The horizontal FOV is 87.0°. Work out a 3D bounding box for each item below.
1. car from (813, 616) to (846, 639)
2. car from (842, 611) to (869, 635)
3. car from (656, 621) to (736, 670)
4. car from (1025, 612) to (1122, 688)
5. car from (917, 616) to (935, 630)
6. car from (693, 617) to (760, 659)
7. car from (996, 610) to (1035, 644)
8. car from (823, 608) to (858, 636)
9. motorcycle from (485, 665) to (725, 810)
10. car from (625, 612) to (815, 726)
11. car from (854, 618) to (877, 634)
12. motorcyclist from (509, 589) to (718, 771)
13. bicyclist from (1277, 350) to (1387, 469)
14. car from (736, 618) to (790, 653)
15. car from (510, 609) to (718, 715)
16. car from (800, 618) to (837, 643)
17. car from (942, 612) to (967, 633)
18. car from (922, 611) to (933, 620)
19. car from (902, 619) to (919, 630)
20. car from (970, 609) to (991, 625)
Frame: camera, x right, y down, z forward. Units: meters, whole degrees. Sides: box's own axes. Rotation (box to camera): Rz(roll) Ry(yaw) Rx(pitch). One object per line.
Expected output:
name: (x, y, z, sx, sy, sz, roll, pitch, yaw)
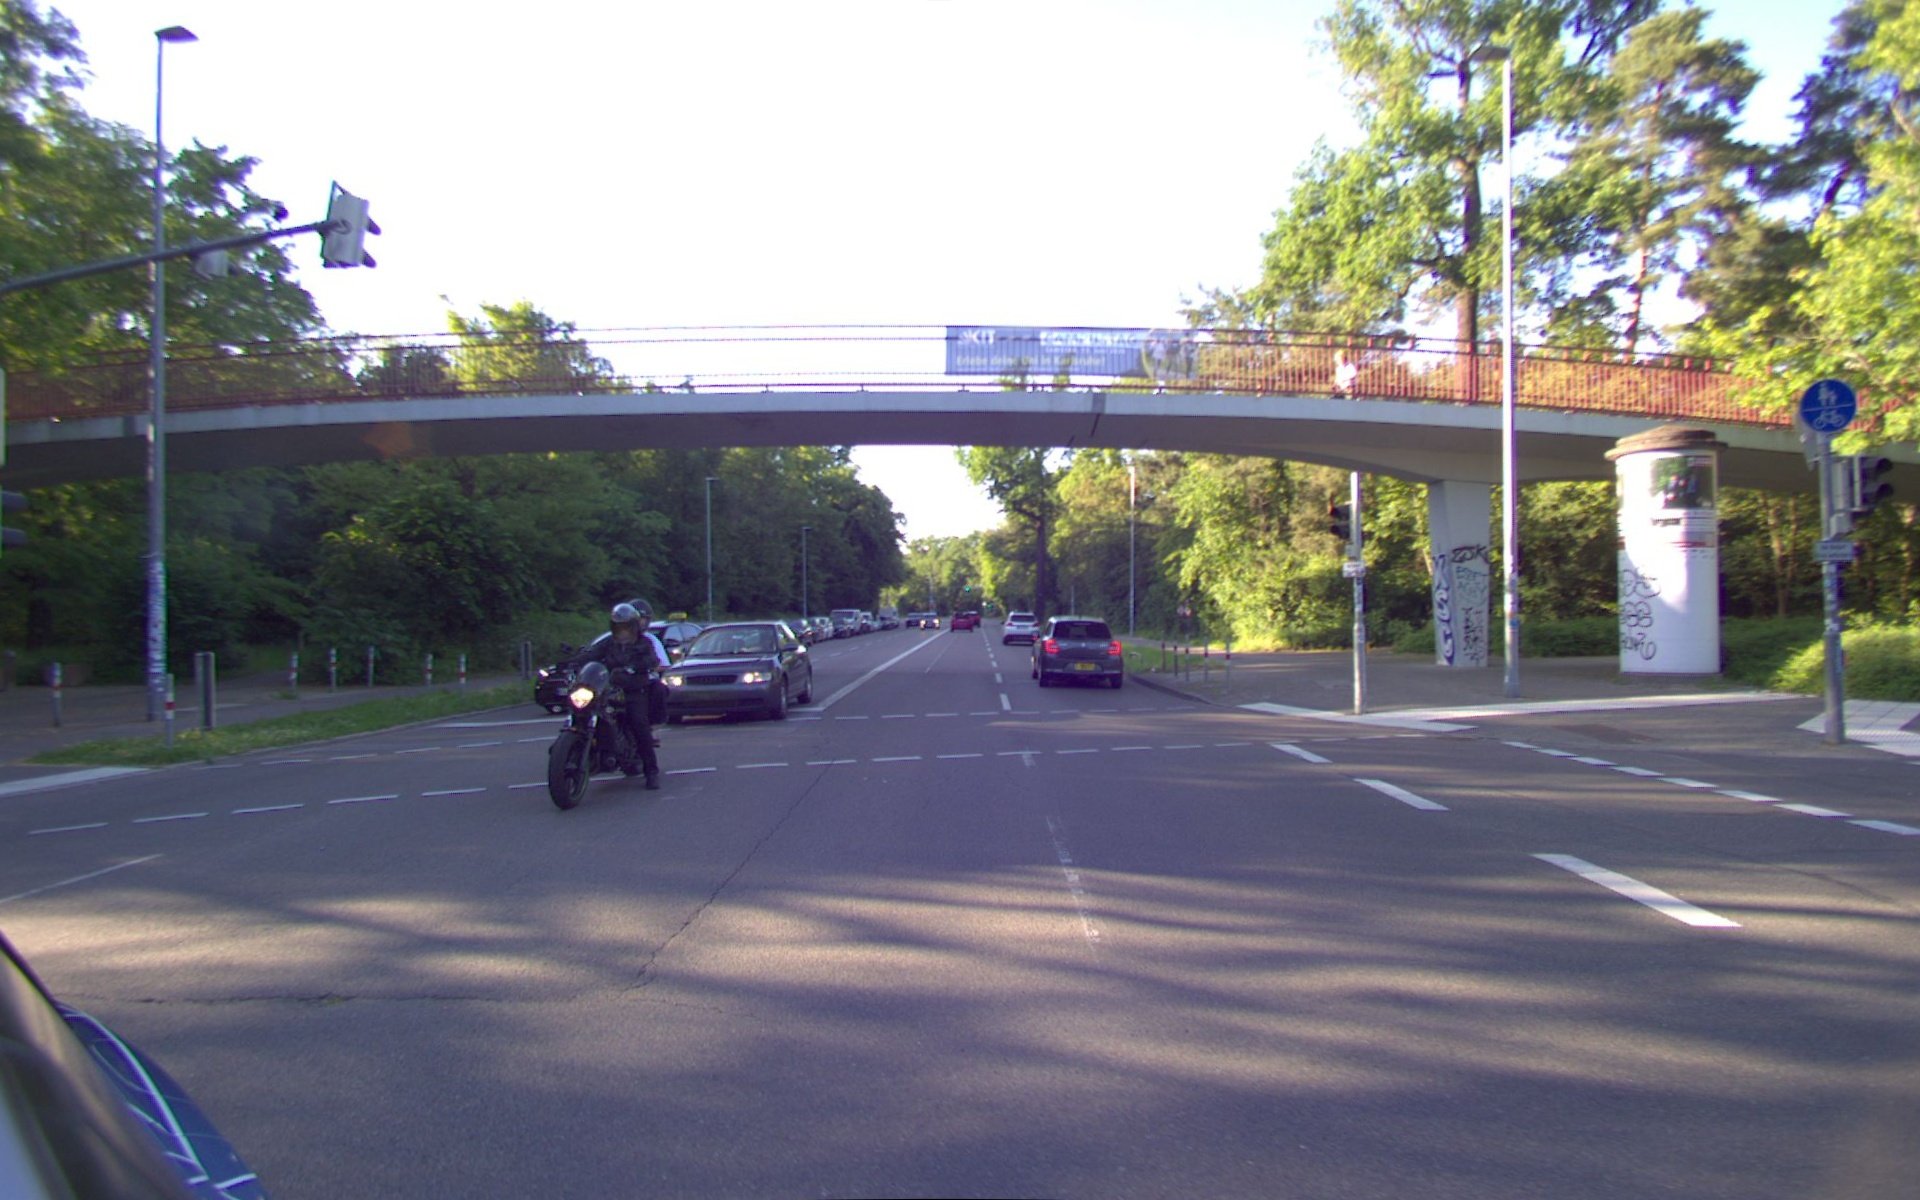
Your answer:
car: (-8.780, 1.831, 68.314, 1.714, 1.519, 4.395, 0, -1, 0)
car: (-8.985, 1.989, 87.476, 1.926, 1.991, 4.395, 0, -1, 0)
car: (-8.991, 1.502, 34.742, 1.672, 1.519, 4.125, -1, -1, 0)
car: (2.335, 1.009, 21.654, 1.689, 1.464, 3.639, 1, -1, 1)
car: (-3.096, 2.070, 92.005, 1.445, 1.253, 3.999, -1, -1, 0)
car: (-9.052, 1.454, 39.527, 1.698, 1.519, 3.975, 0, -1, 0)
car: (2.585, 1.257, 47.796, 1.659, 1.535, 3.900, 1, -1, 1)
car: (-8.859, 1.622, 75.158, 1.990, 1.991, 5.040, 0, -1, 0)
motorcycle: (-2.993, 1.122, 8.957, 0.799, 0.920, 2.704, -1, -1, 10)
car: (-3.401, 0.926, 15.133, 1.843, 1.400, 3.999, -3, -1, 0)
car: (-9.169, 2.523, 98.693, 1.869, 1.558, 4.395, 0, -1, 0)
motorcyclist: (-2.997, 0.646, 8.964, 1.126, 1.438, 1.562, -1, 1, 10)
bicyclist: (8.308, -4.241, 22.707, 1.662, 2.184, 1.411, 9, 0, 3)
car: (-8.987, 1.577, 46.470, 1.714, 1.519, 4.152, 0, -1, 0)
car: (-6.244, 1.024, 19.131, 1.972, 1.647, 5.887, -1, 0, -1)
car: (-8.751, 1.863, 62.897, 1.714, 1.519, 4.395, 0, -1, 0)
car: (-0.379, 1.626, 74.955, 1.732, 1.467, 3.639, 1, -1, 1)
car: (-5.579, 2.737, 174.314, 1.869, 1.511, 4.395, 0, -1, 0)
car: (-5.665, 2.805, 115.940, 1.713, 1.253, 3.999, -1, -1, 0)
car: (1.930, 1.626, 97.817, 1.940, 1.517, 4.646, -1, -1, 0)
